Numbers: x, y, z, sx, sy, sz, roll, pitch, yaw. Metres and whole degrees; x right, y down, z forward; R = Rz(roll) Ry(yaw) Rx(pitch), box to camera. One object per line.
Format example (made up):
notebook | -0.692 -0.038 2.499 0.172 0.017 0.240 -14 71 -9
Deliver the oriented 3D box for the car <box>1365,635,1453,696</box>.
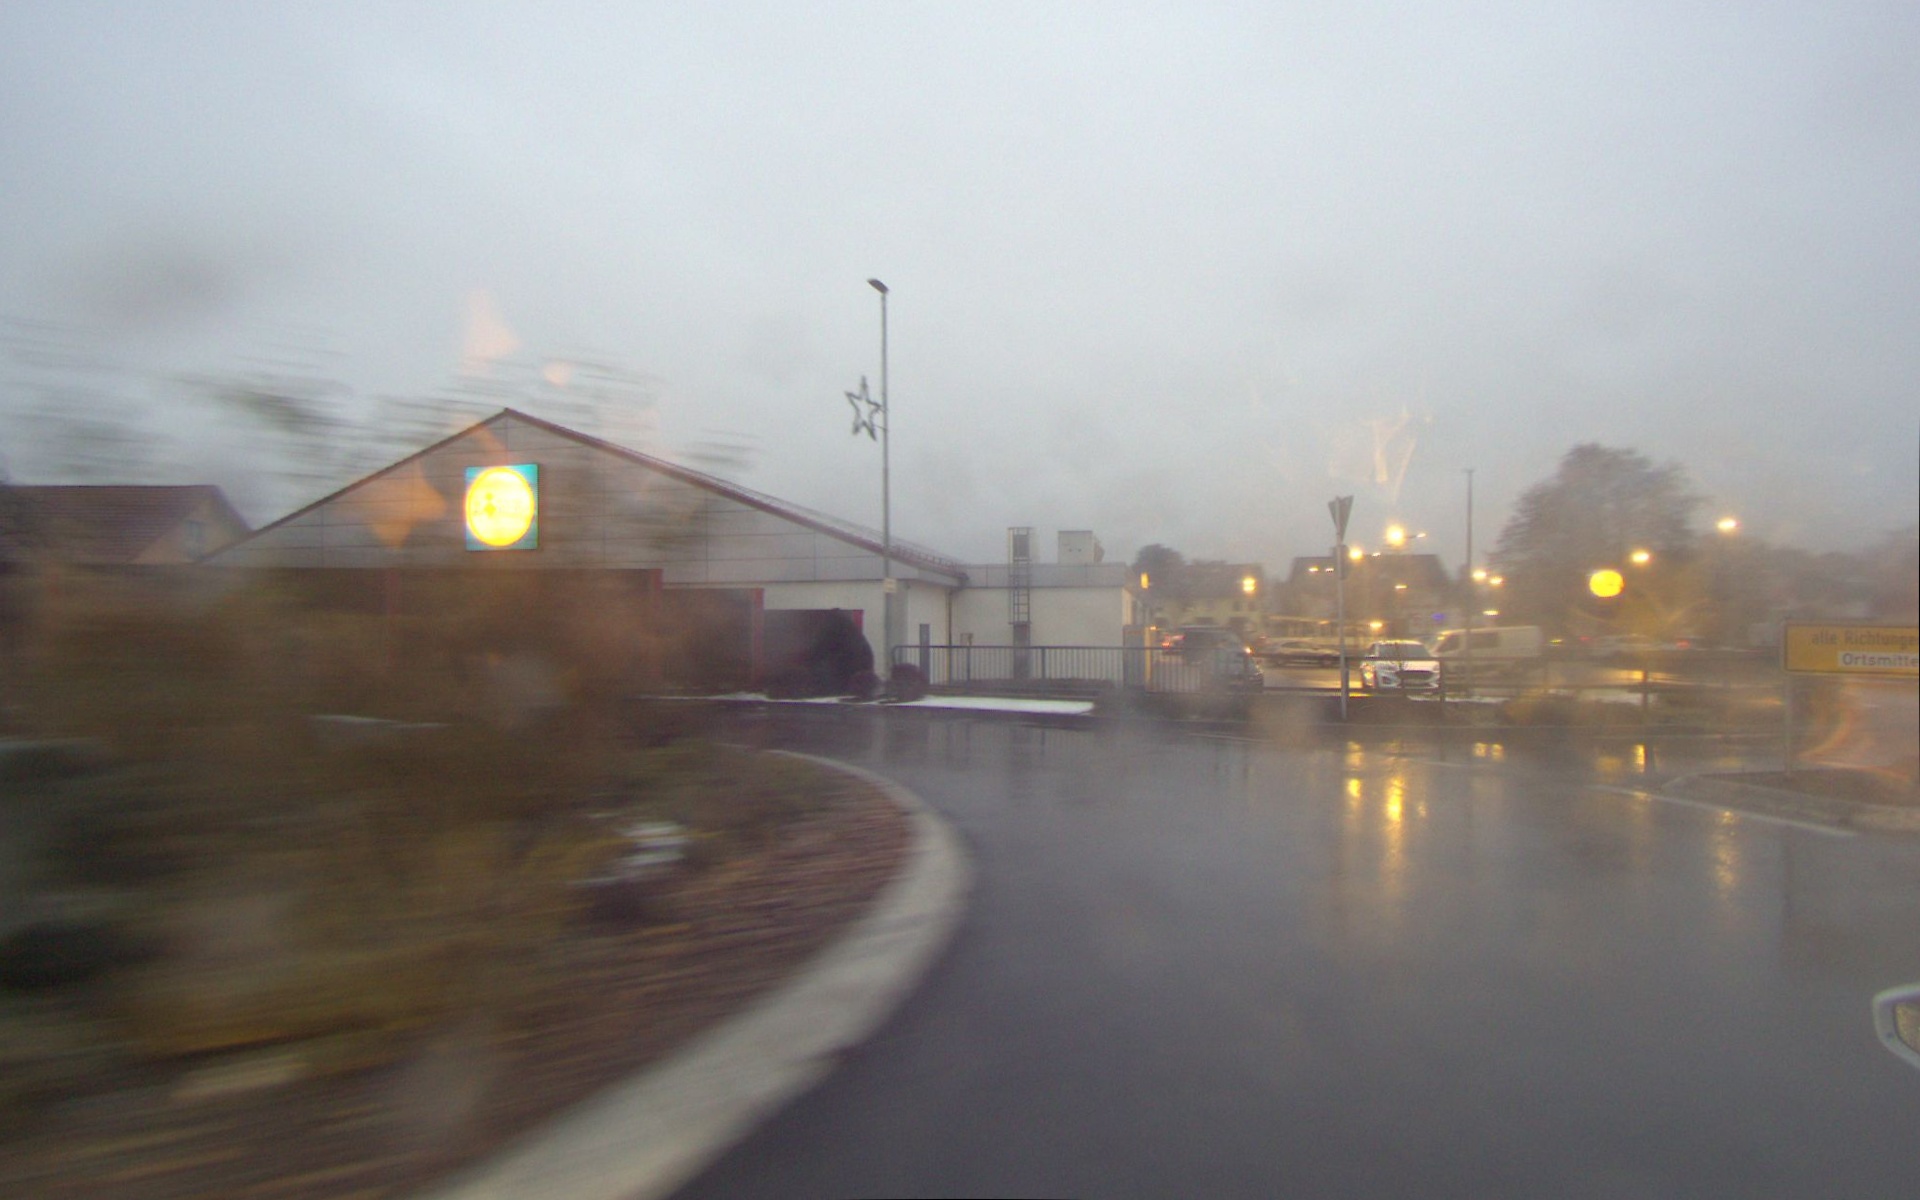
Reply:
car | 13.552 1.917 30.566 2.024 1.582 4.281 1 0 19

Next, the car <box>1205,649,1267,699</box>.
car | 8.988 2.380 32.955 1.804 1.329 4.002 1 0 13

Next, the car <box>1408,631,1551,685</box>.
car | 23.278 2.568 45.197 5.313 2.162 2.034 1 0 9

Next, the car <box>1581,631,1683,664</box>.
car | 36.533 2.571 54.726 4.268 1.770 1.707 0 -1 14

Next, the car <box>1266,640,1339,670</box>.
car | 19.856 3.173 58.408 3.773 1.561 1.730 1 0 11

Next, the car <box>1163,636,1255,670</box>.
car | 14.071 2.985 56.786 4.950 1.687 1.797 1 0 15
